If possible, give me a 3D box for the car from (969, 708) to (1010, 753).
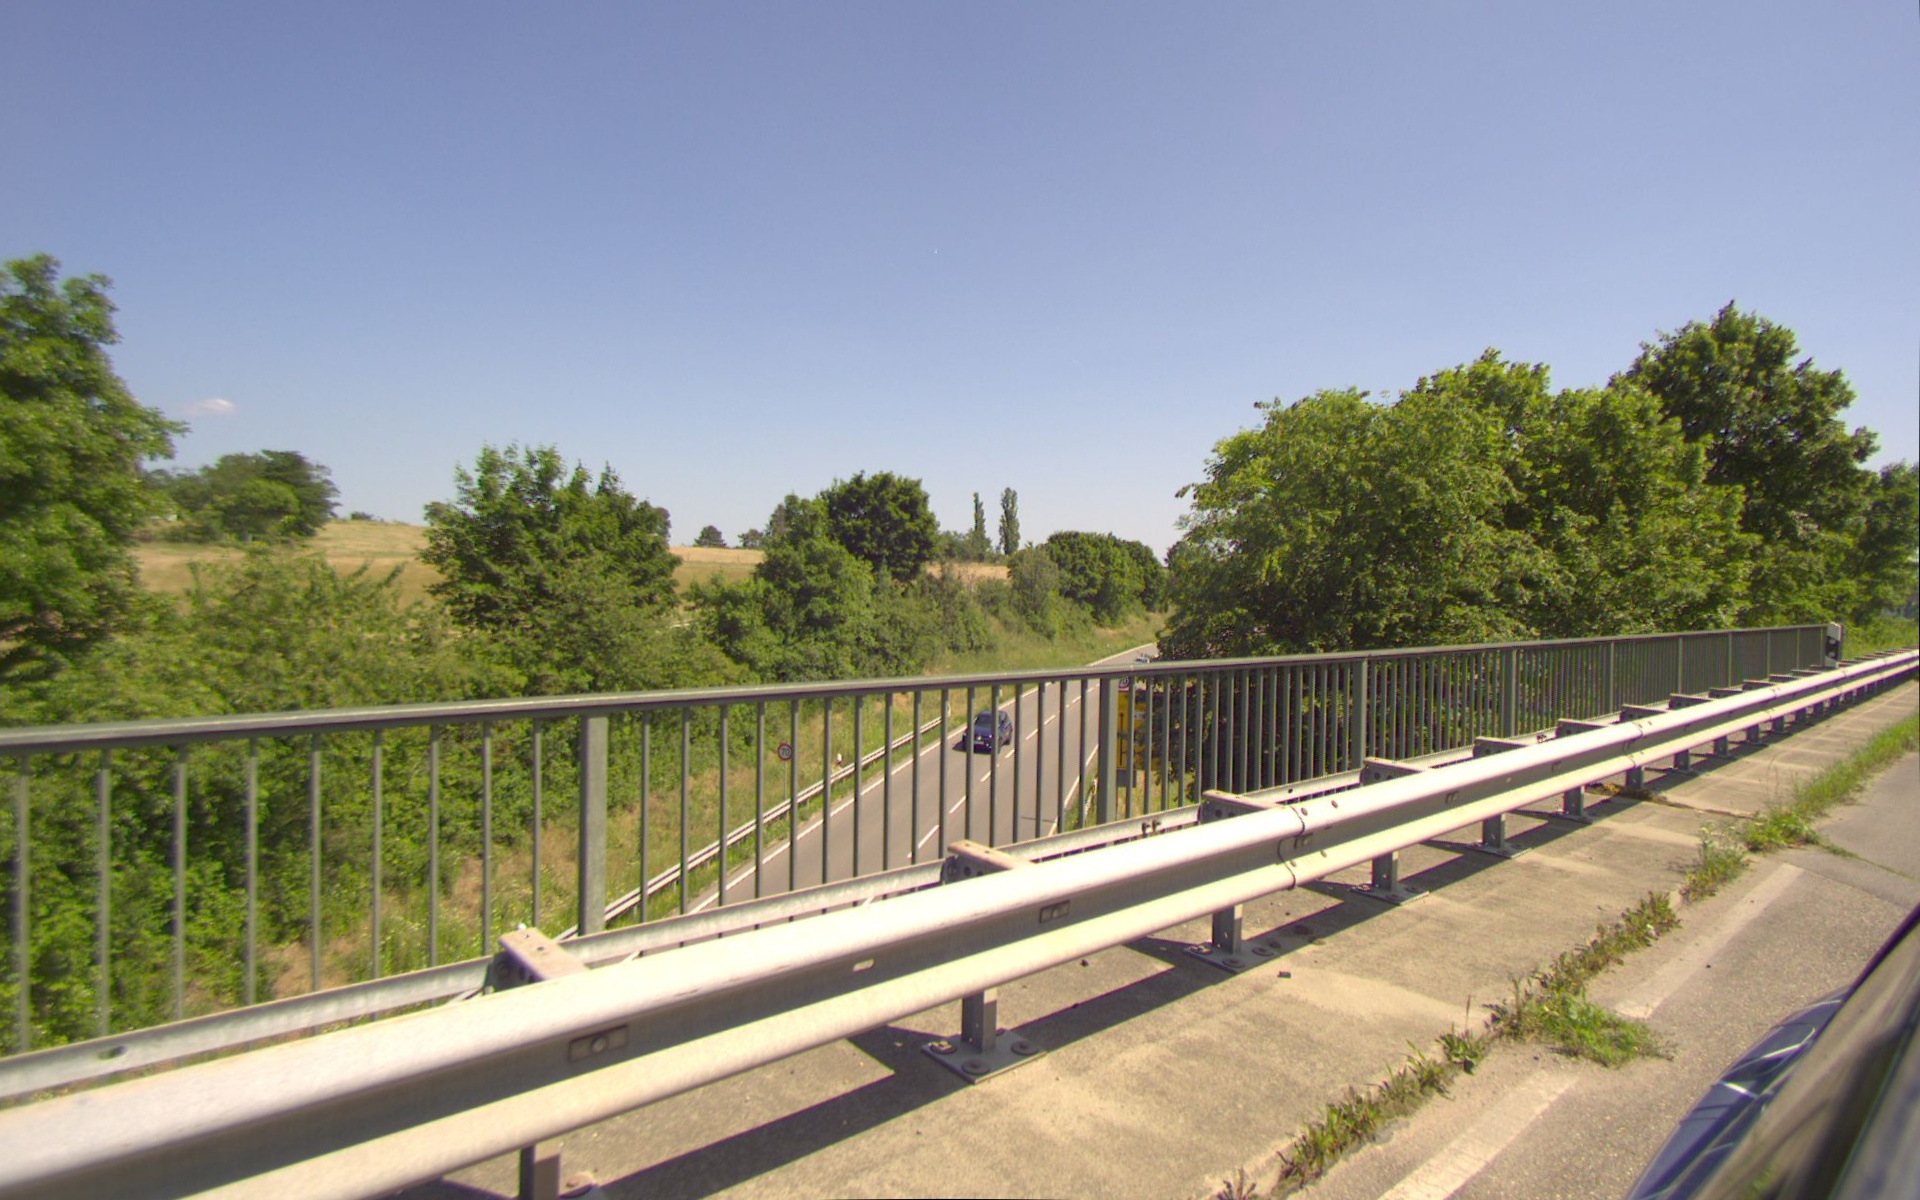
[{"bbox_3d":[1.498,6.340,49.505,1.467,1.596,3.598,3,0,10],"label":"car"}]
